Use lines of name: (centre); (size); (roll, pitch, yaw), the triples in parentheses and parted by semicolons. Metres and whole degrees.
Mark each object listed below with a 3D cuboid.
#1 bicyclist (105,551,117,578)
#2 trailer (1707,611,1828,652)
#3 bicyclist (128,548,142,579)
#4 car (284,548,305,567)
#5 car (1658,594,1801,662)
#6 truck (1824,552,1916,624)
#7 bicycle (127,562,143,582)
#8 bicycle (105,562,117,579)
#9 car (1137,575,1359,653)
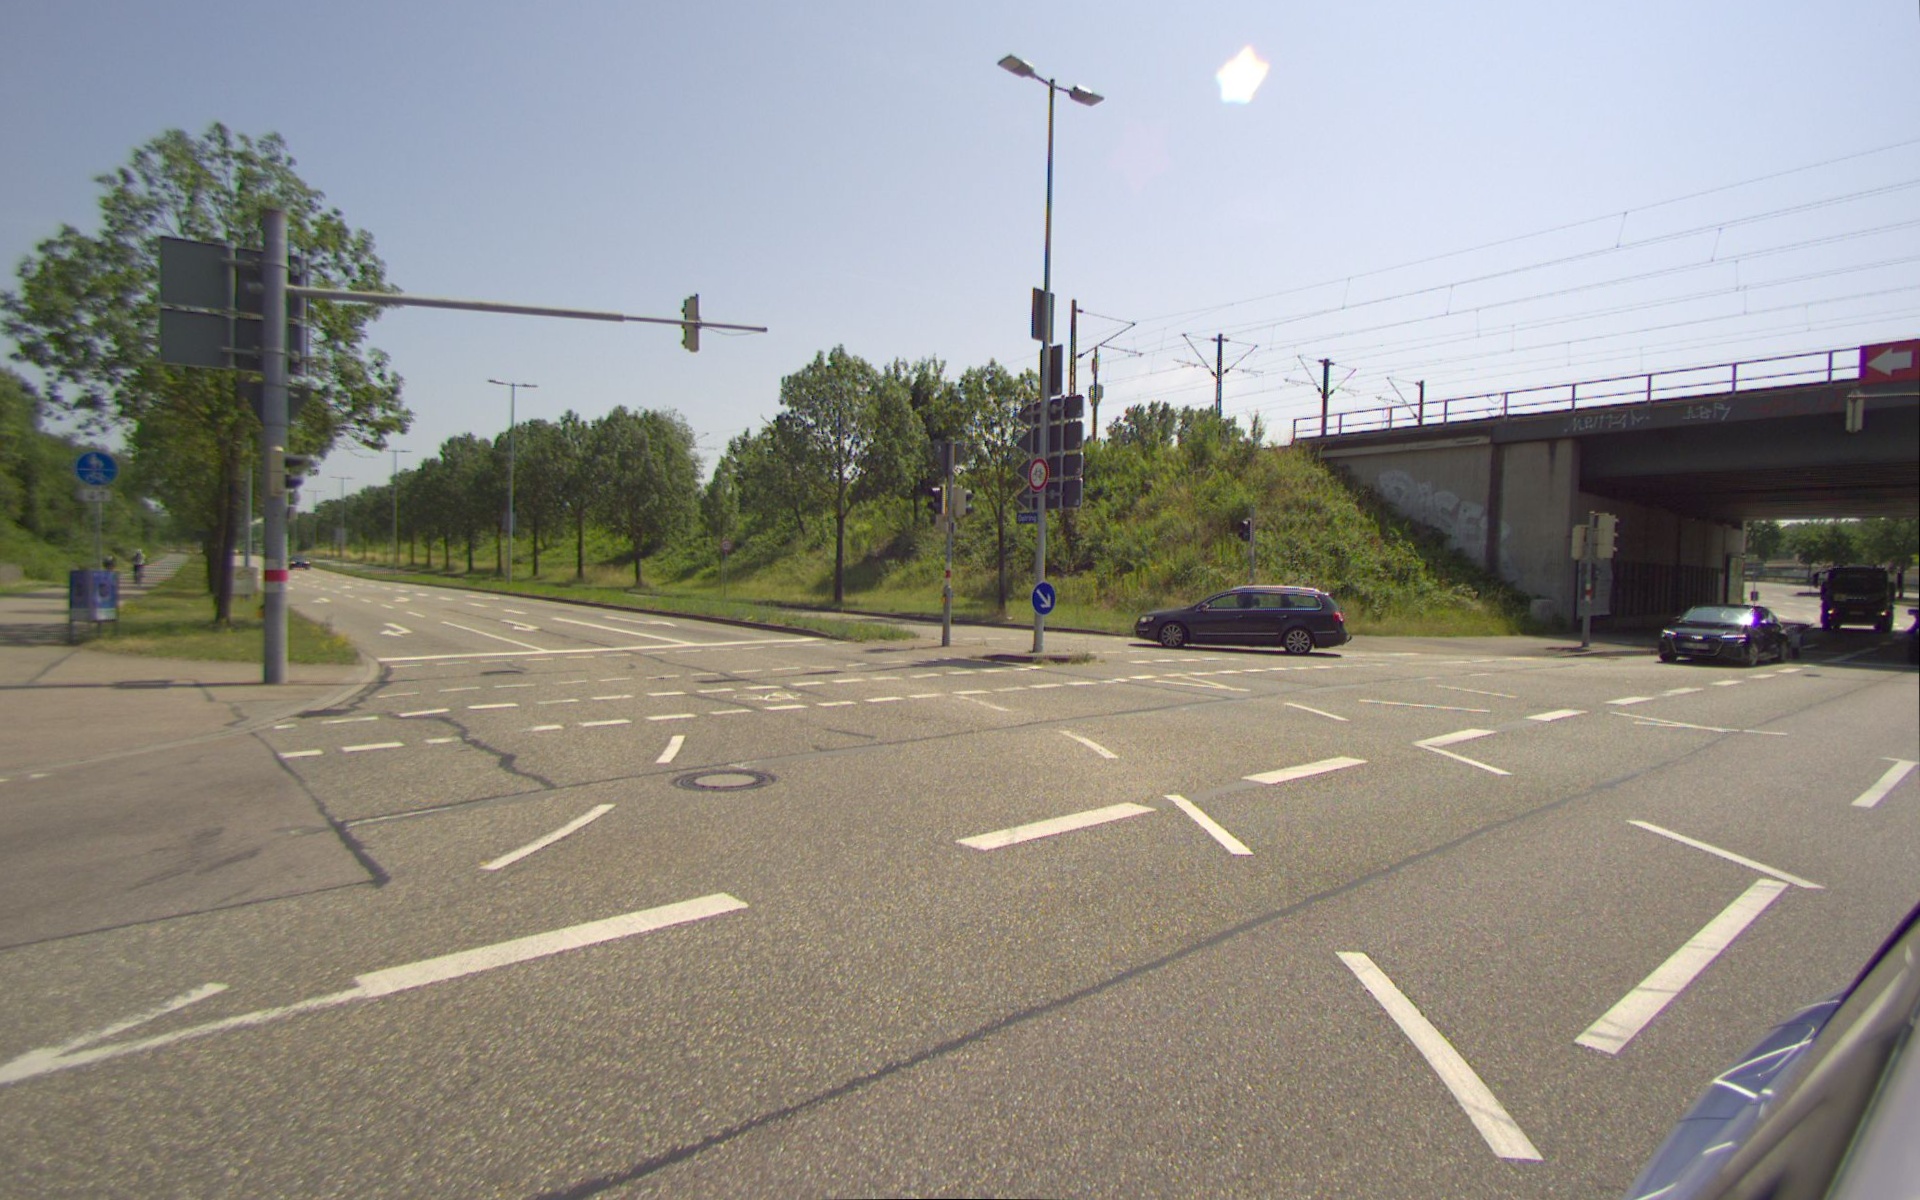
bicyclist: (-44.246, -1.864, 52.727); (0.412, 1.399, 0.491); (1, 1, -34)
trailer: (21.061, 0.779, 26.353); (3.763, 0.954, 1.680); (0, 0, -39)
bicyclist: (-39.612, -1.749, 48.611); (0.475, 1.451, 0.491); (1, 1, -34)
car: (-77.049, -4.934, 117.127); (1.961, 2.038, 4.003); (1, 2, -33)
car: (18.218, 0.606, 23.901); (3.832, 1.407, 1.808); (0, 2, -39)
truck: (41.242, -0.542, 46.045); (2.875, 2.952, 8.390); (1, 1, 41)
bicycle: (-39.674, -1.344, 48.665); (0.432, 0.895, 1.454); (1, 2, -34)
bicycle: (-44.250, -1.539, 52.735); (0.371, 0.895, 1.124); (1, 2, -34)
car: (6.472, 0.263, 22.968); (4.611, 1.521, 1.800); (2, 1, 18)
